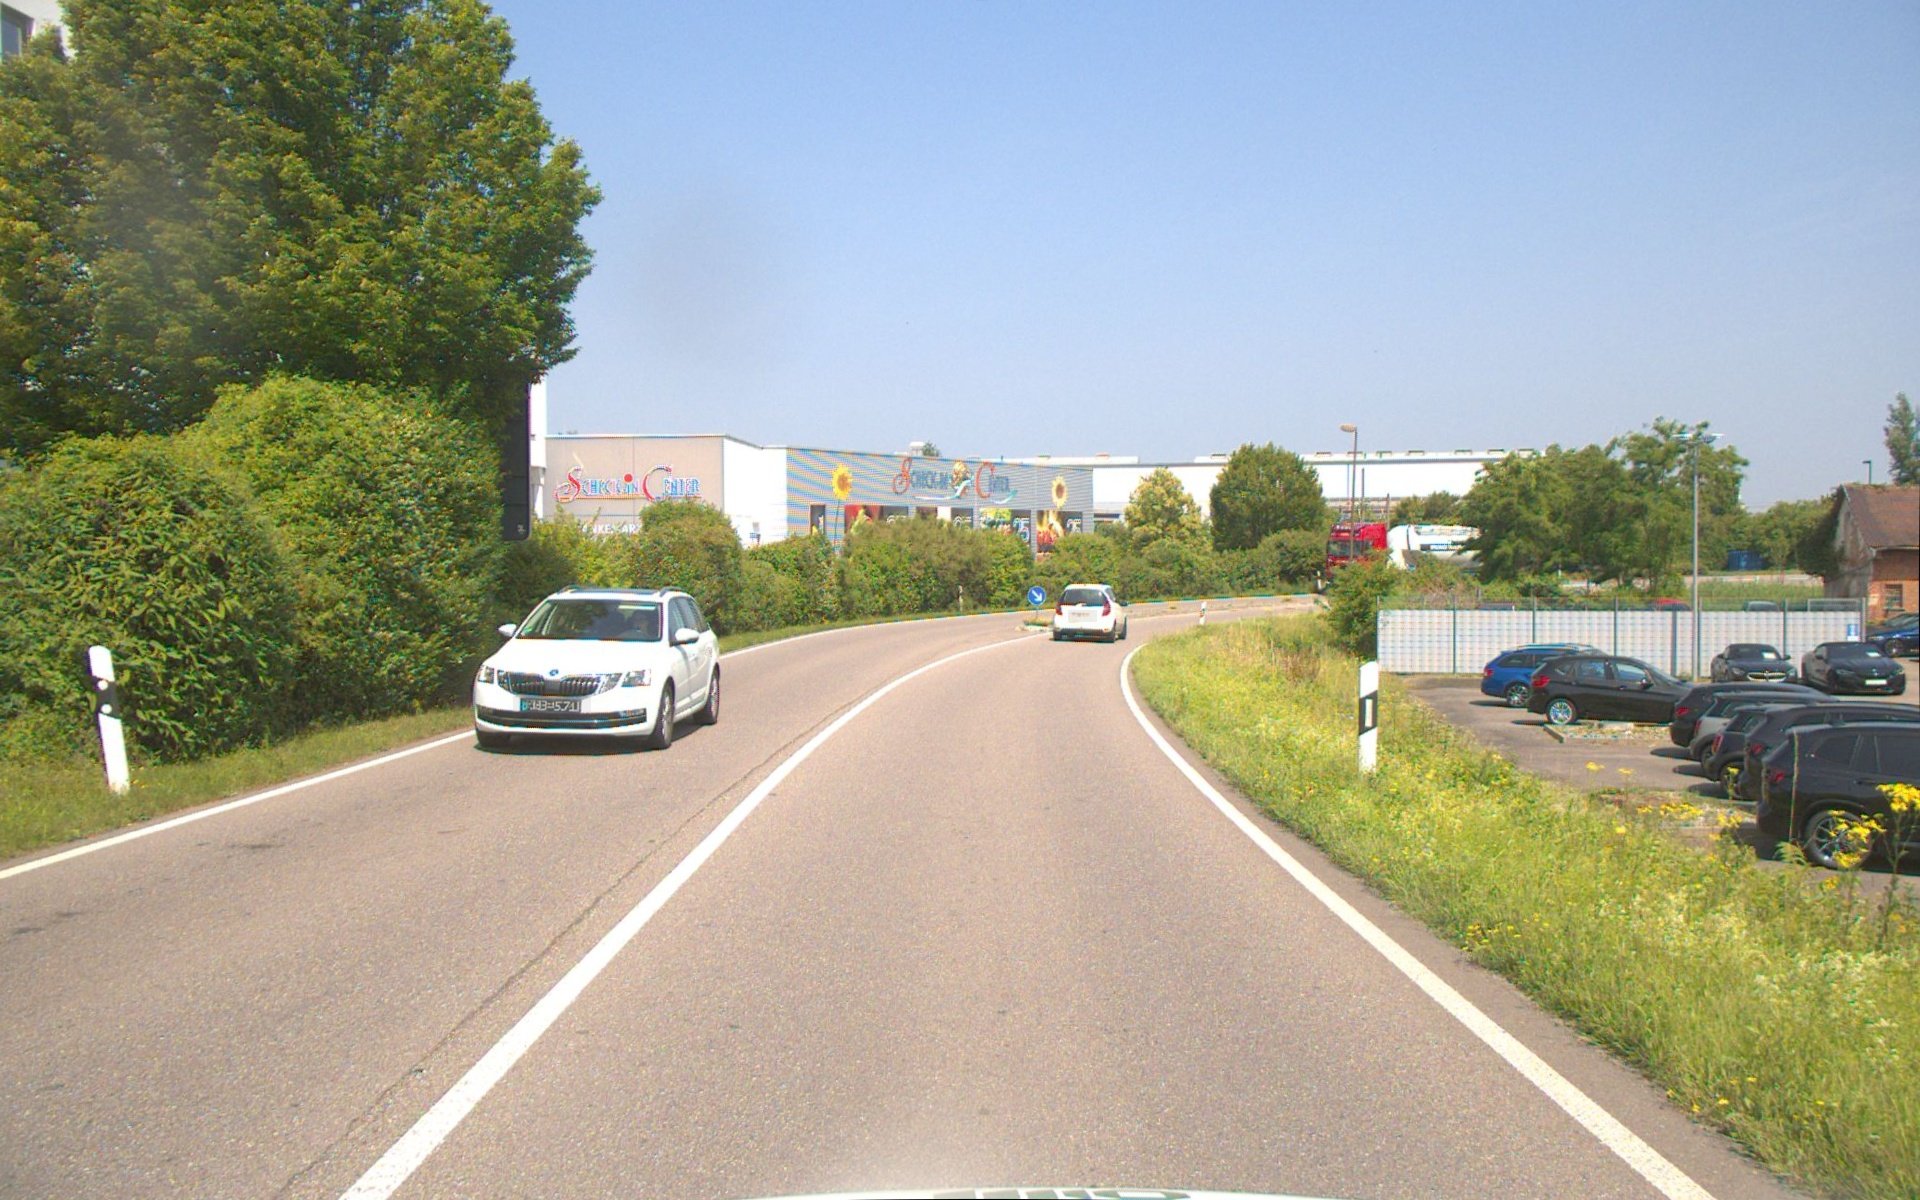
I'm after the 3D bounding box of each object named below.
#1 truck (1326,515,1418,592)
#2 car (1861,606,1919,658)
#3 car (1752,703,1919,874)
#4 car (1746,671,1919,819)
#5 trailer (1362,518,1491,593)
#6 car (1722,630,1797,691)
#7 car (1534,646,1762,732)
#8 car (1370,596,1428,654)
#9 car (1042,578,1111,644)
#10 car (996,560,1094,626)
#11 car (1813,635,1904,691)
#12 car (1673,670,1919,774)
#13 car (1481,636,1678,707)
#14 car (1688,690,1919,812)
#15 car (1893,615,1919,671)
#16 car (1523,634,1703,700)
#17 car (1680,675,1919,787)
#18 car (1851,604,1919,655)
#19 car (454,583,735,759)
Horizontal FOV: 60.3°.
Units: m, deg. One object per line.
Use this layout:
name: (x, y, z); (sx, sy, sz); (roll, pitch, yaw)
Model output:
truck: (23.098, -2.530, 92.472); (2.832, 4.101, 6.699); (1, 0, 34)
car: (33.639, 1.122, 57.677); (3.660, 1.780, 1.674); (1, 0, 19)
car: (12.058, 2.295, 19.689); (4.546, 1.730, 1.852); (1, 3, 33)
car: (13.254, 2.007, 22.743); (4.152, 1.730, 1.912); (1, 3, 36)
trailer: (27.130, -2.517, 95.993); (8.612, 4.101, 2.848); (1, 0, -40)
car: (23.240, 1.715, 48.189); (1.813, 1.561, 4.641); (1, 0, 24)
car: (15.326, 1.937, 36.887); (4.539, 1.633, 1.854); (1, 1, 28)
car: (16.424, 0.908, 62.021); (1.951, 2.049, 4.003); (1, 0, 13)
car: (3.305, 0.267, 47.572); (1.745, 1.630, 3.895); (5, 1, 2)
car: (2.829, -0.223, 53.967); (1.953, 2.049, 3.999); (1, 0, 22)
car: (25.638, 1.760, 47.284); (1.954, 1.422, 3.998); (1, 0, 24)
car: (15.365, 2.170, 30.244); (3.962, 1.467, 1.765); (2, 3, 41)
car: (16.063, 1.819, 42.926); (4.543, 1.524, 1.853); (1, 2, 31)
car: (13.568, 2.291, 25.430); (4.068, 1.467, 1.769); (1, 3, 37)
car: (32.574, 1.421, 53.679); (3.659, 1.780, 1.675); (1, 0, 16)
car: (18.023, 1.801, 45.755); (4.297, 1.529, 1.831); (2, 2, 43)
car: (14.604, 2.177, 28.066); (4.068, 1.519, 1.824); (1, 1, 36)
car: (34.769, 1.079, 60.439); (3.660, 1.780, 1.674); (1, 0, 19)
car: (-3.480, 0.608, 16.600); (1.791, 1.496, 4.410); (1, 0, 0)
